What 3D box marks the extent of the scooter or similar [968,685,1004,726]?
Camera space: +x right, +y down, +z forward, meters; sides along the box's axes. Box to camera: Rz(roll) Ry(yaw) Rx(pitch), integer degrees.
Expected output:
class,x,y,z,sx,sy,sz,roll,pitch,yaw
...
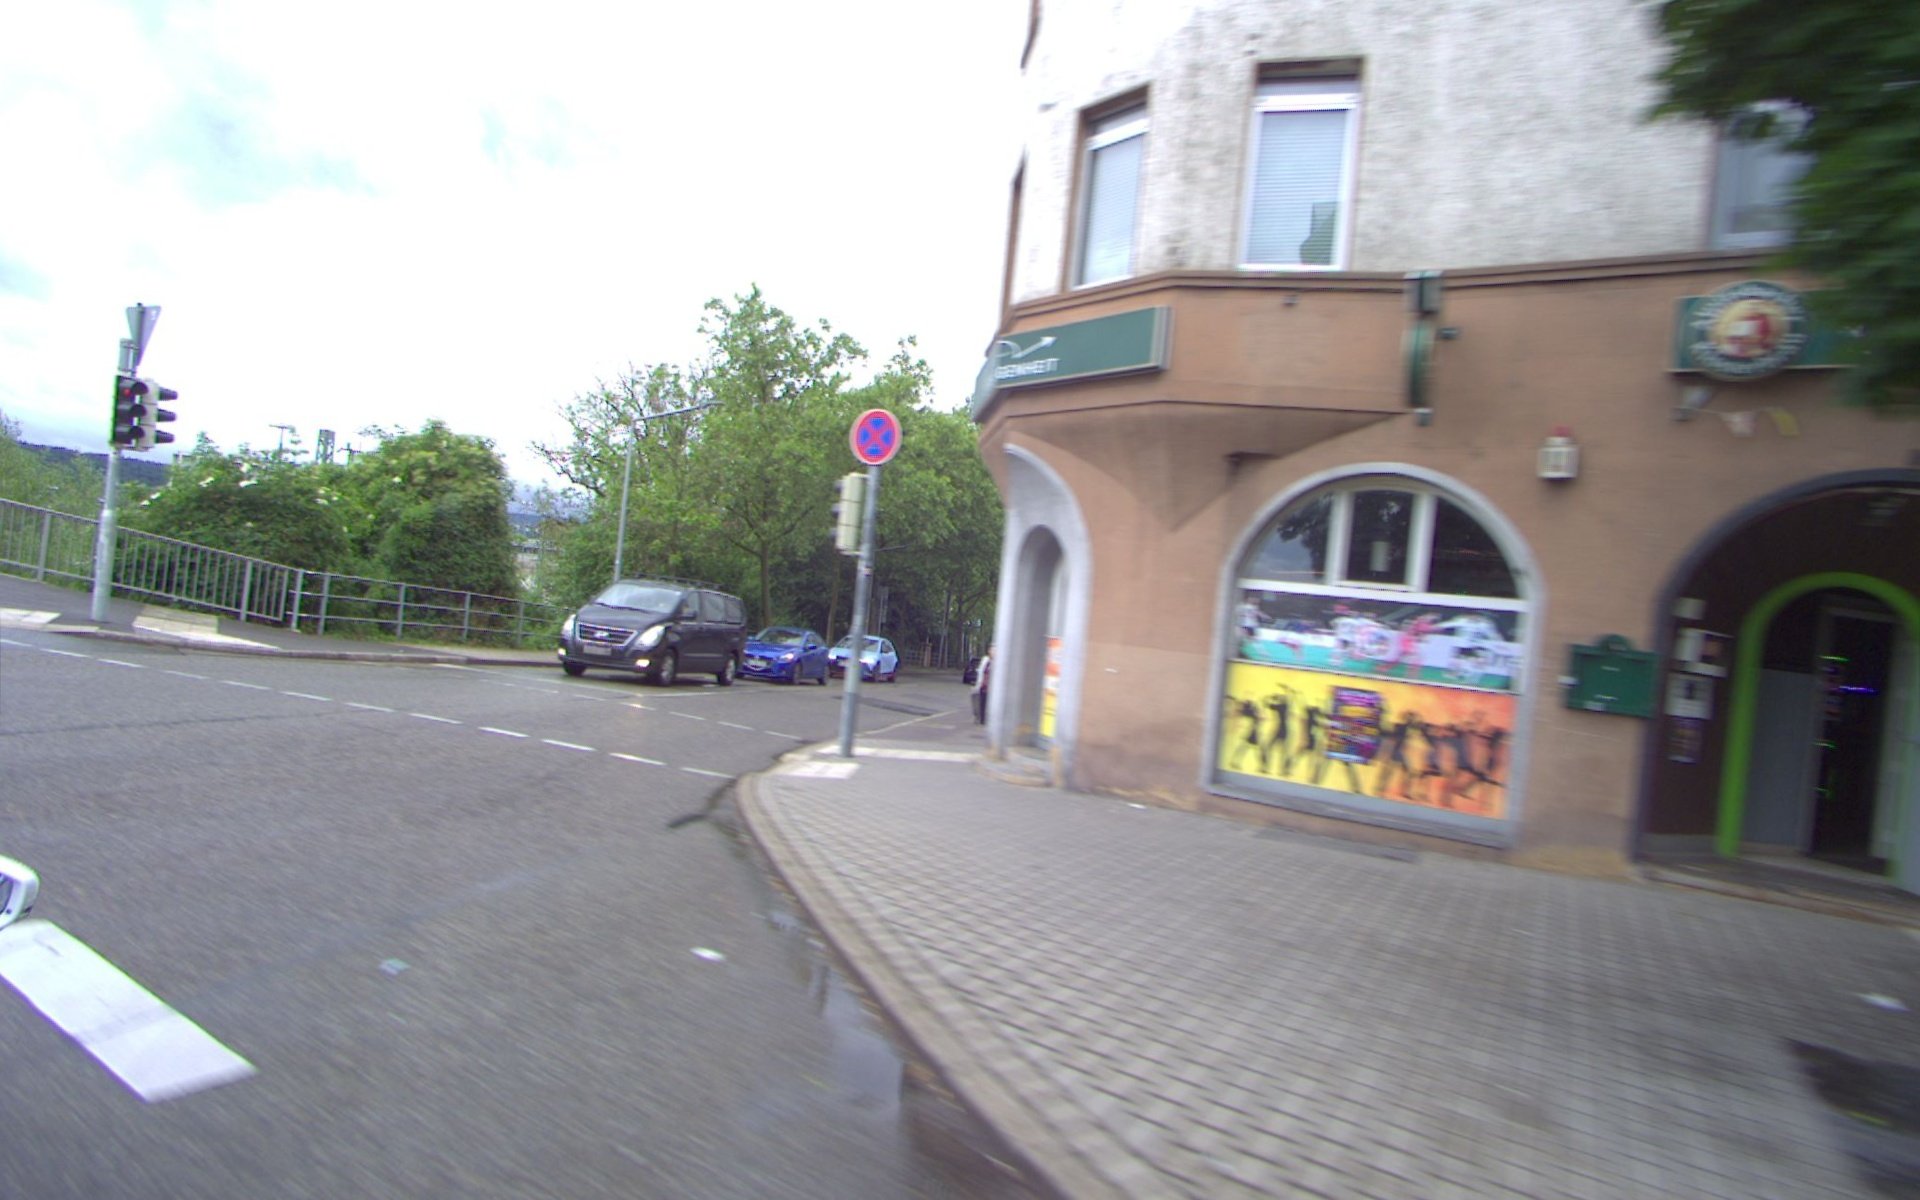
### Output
class,x,y,z,sx,sy,sz,roll,pitch,yaw
scooter or similar,0.482,1.936,18.509,0.539,0.675,0.508,5,-3,10

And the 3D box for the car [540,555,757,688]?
class,x,y,z,sx,sy,sz,roll,pitch,yaw
car,-5.782,0.525,19.455,1.962,2.036,4.767,7,-3,8

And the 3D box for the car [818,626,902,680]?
class,x,y,z,sx,sy,sz,roll,pitch,yaw
car,-3.506,1.917,35.973,1.868,1.629,4.349,5,-3,8

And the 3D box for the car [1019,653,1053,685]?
class,x,y,z,sx,sy,sz,roll,pitch,yaw
car,4.518,4.053,59.429,1.725,1.593,4.002,5,-1,7

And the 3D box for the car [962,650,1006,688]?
class,x,y,z,sx,sy,sz,roll,pitch,yaw
car,1.270,3.481,51.416,1.725,1.593,4.002,5,-1,7

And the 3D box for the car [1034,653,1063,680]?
class,x,y,z,sx,sy,sz,roll,pitch,yaw
car,6.133,4.544,69.264,1.725,1.593,4.002,5,-1,7

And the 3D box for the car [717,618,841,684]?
class,x,y,z,sx,sy,sz,roll,pitch,yaw
car,-4.709,1.394,26.832,1.868,1.451,4.349,5,-3,8
